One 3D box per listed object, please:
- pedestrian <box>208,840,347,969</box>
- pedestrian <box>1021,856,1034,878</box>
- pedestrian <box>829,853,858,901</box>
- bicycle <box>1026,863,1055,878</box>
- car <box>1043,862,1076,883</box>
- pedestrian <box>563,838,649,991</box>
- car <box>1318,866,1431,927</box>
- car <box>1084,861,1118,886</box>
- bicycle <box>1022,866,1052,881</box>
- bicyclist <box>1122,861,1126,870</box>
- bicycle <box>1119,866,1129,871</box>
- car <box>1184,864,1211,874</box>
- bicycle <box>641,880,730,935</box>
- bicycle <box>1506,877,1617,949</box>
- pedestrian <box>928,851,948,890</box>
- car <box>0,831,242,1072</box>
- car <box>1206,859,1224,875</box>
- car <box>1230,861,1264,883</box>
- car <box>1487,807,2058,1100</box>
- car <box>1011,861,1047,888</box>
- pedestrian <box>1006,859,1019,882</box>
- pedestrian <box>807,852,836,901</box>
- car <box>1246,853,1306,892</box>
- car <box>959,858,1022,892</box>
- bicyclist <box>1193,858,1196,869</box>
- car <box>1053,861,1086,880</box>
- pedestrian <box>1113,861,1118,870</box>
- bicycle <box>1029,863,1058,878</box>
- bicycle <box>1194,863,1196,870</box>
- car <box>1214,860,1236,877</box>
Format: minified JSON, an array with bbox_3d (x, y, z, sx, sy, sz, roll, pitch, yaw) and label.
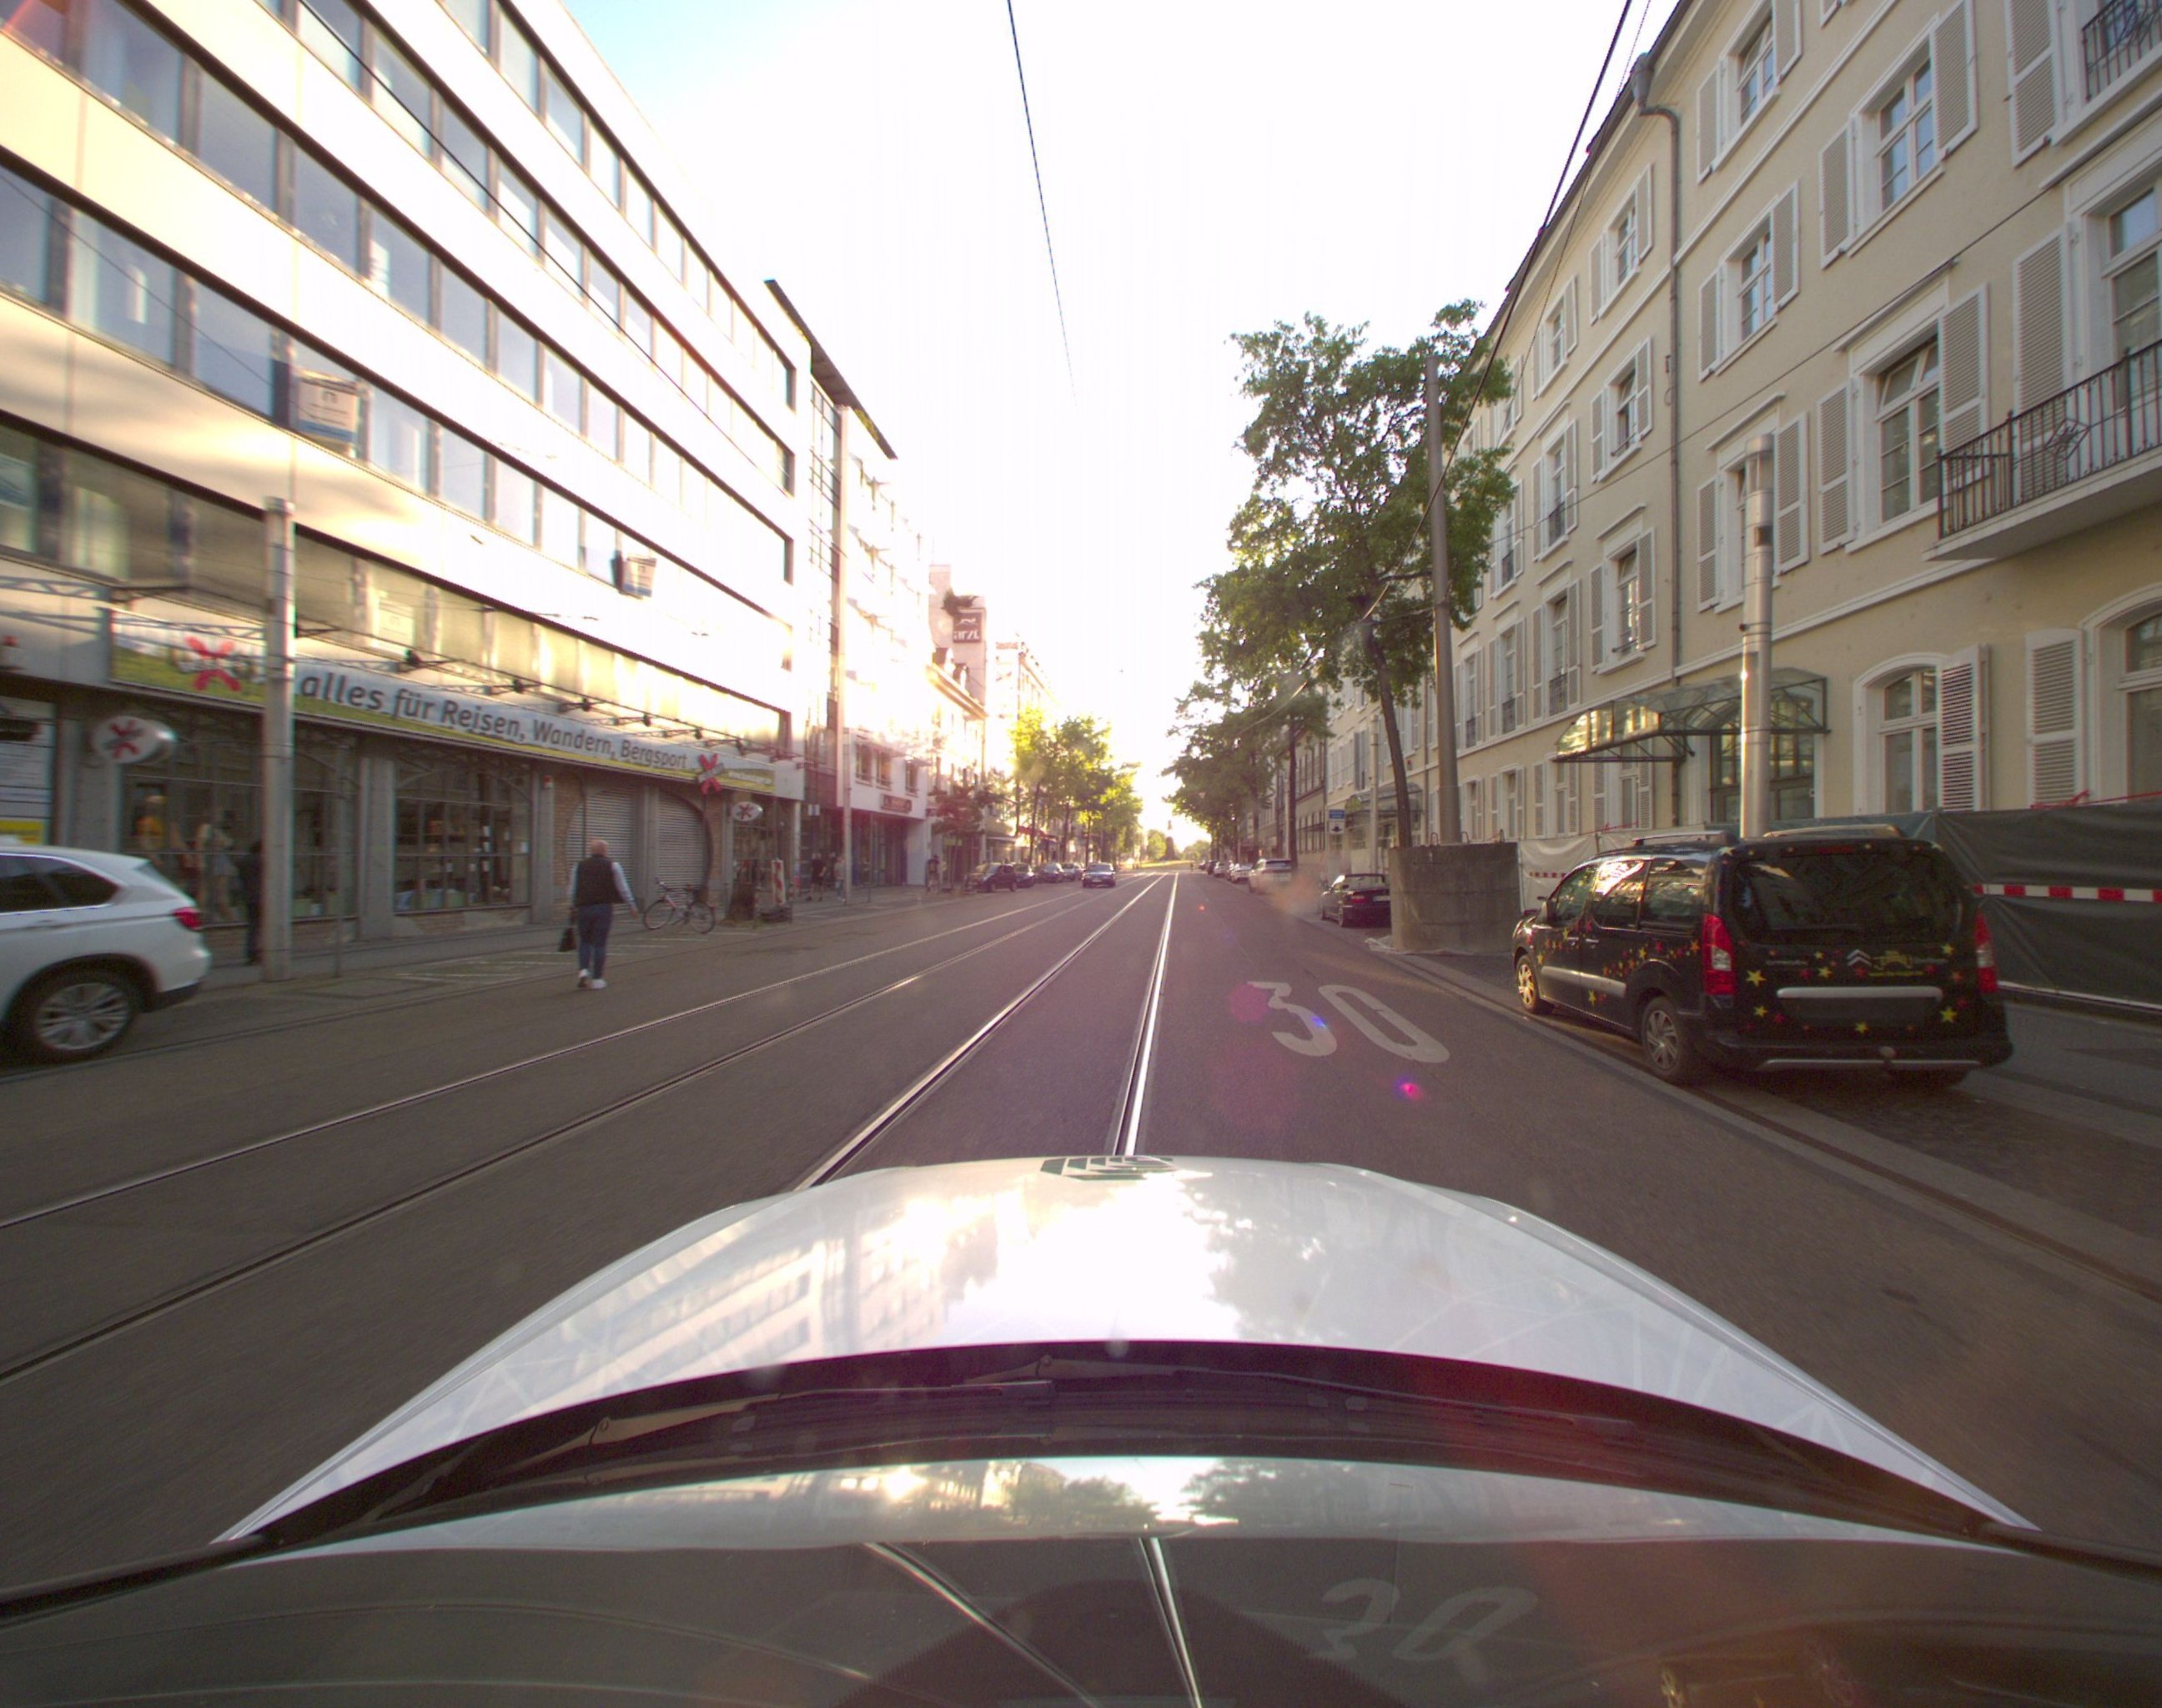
[{"bbox_3d":[-11.325,0.681,11.524,0.828,1.695,1.040,2,0,7],"label":"pedestrian"},{"bbox_3d":[-4.116,0.969,62.412,0.839,1.693,0.742,0,-1,6],"label":"pedestrian"},{"bbox_3d":[-8.515,0.815,29.238,0.637,1.713,0.832,1,0,11],"label":"pedestrian"},{"bbox_3d":[-2.811,1.135,56.665,1.959,1.001,0.331,0,-1,9],"label":"bicycle"},{"bbox_3d":[-1.534,1.312,59.738,1.702,1.461,4.495,2,0,7],"label":"car"},{"bbox_3d":[-5.776,0.700,9.956,0.855,1.766,0.824,0,0,-28],"label":"pedestrian"},{"bbox_3d":[7.298,0.993,20.703,1.784,1.311,4.338,-2,-1,7],"label":"car"},{"bbox_3d":[1.227,1.124,48.227,1.770,1.407,4.534,0,0,5],"label":"car"},{"bbox_3d":[-2.956,1.326,54.581,1.959,1.001,0.331,0,-1,9],"label":"bicycle"},{"bbox_3d":[7.081,1.929,134.051,0.533,1.438,0.368,0,-1,7],"label":"bicyclist"},{"bbox_3d":[7.088,2.382,134.082,1.722,0.864,0.368,0,-1,7],"label":"bicycle"},{"bbox_3d":[20.305,2.565,141.966,4.646,1.684,2.005,0,0,9],"label":"car"},{"bbox_3d":[-8.269,1.102,17.031,1.732,0.992,0.480,3,1,14],"label":"bicycle"},{"bbox_3d":[8.138,0.970,13.891,0.654,1.071,1.667,-2,0,-12],"label":"bicycle"},{"bbox_3d":[-6.872,0.783,39.124,0.656,1.825,0.880,3,0,7],"label":"pedestrian"},{"bbox_3d":[-9.053,0.699,5.267,1.983,1.754,4.753,2,0,7],"label":"car"},{"bbox_3d":[16.622,1.596,100.942,1.928,1.759,4.689,-4,-1,7],"label":"car"},{"bbox_3d":[11.599,1.227,57.102,1.902,1.420,4.898,-3,-1,7],"label":"car"},{"bbox_3d":[5.369,0.658,7.279,1.940,1.793,4.328,-2,-1,10],"label":"car"},{"bbox_3d":[-3.114,1.216,49.735,1.785,1.490,4.243,2,0,1],"label":"car"},{"bbox_3d":[-5.243,1.257,62.247,0.785,1.693,0.915,0,-1,6],"label":"pedestrian"},{"bbox_3d":[-9.291,0.786,29.195,0.623,1.713,0.810,1,0,11],"label":"pedestrian"},{"bbox_3d":[9.345,0.879,39.480,1.989,1.688,4.973,-2,-1,4],"label":"car"},{"bbox_3d":[-4.564,1.035,41.565,1.616,1.616,3.728,2,0,22],"label":"car"},{"bbox_3d":[16.275,1.371,116.481,0.426,1.481,0.467,0,0,7],"label":"bicyclist"},{"bbox_3d":[-0.907,1.317,65.730,1.755,1.497,4.188,0,-1,12],"label":"car"},{"bbox_3d":[5.040,1.647,119.365,0.724,1.290,0.858,1,0,4],"label":"pedestrian"},{"bbox_3d":[-2.563,1.133,56.246,1.959,1.001,0.331,0,-1,9],"label":"bicycle"},{"bbox_3d":[16.288,1.824,116.473,0.262,0.982,1.341,0,0,7],"label":"bicycle"},{"bbox_3d":[14.668,1.477,83.164,1.982,1.498,4.690,-3,-1,8],"label":"car"}]
